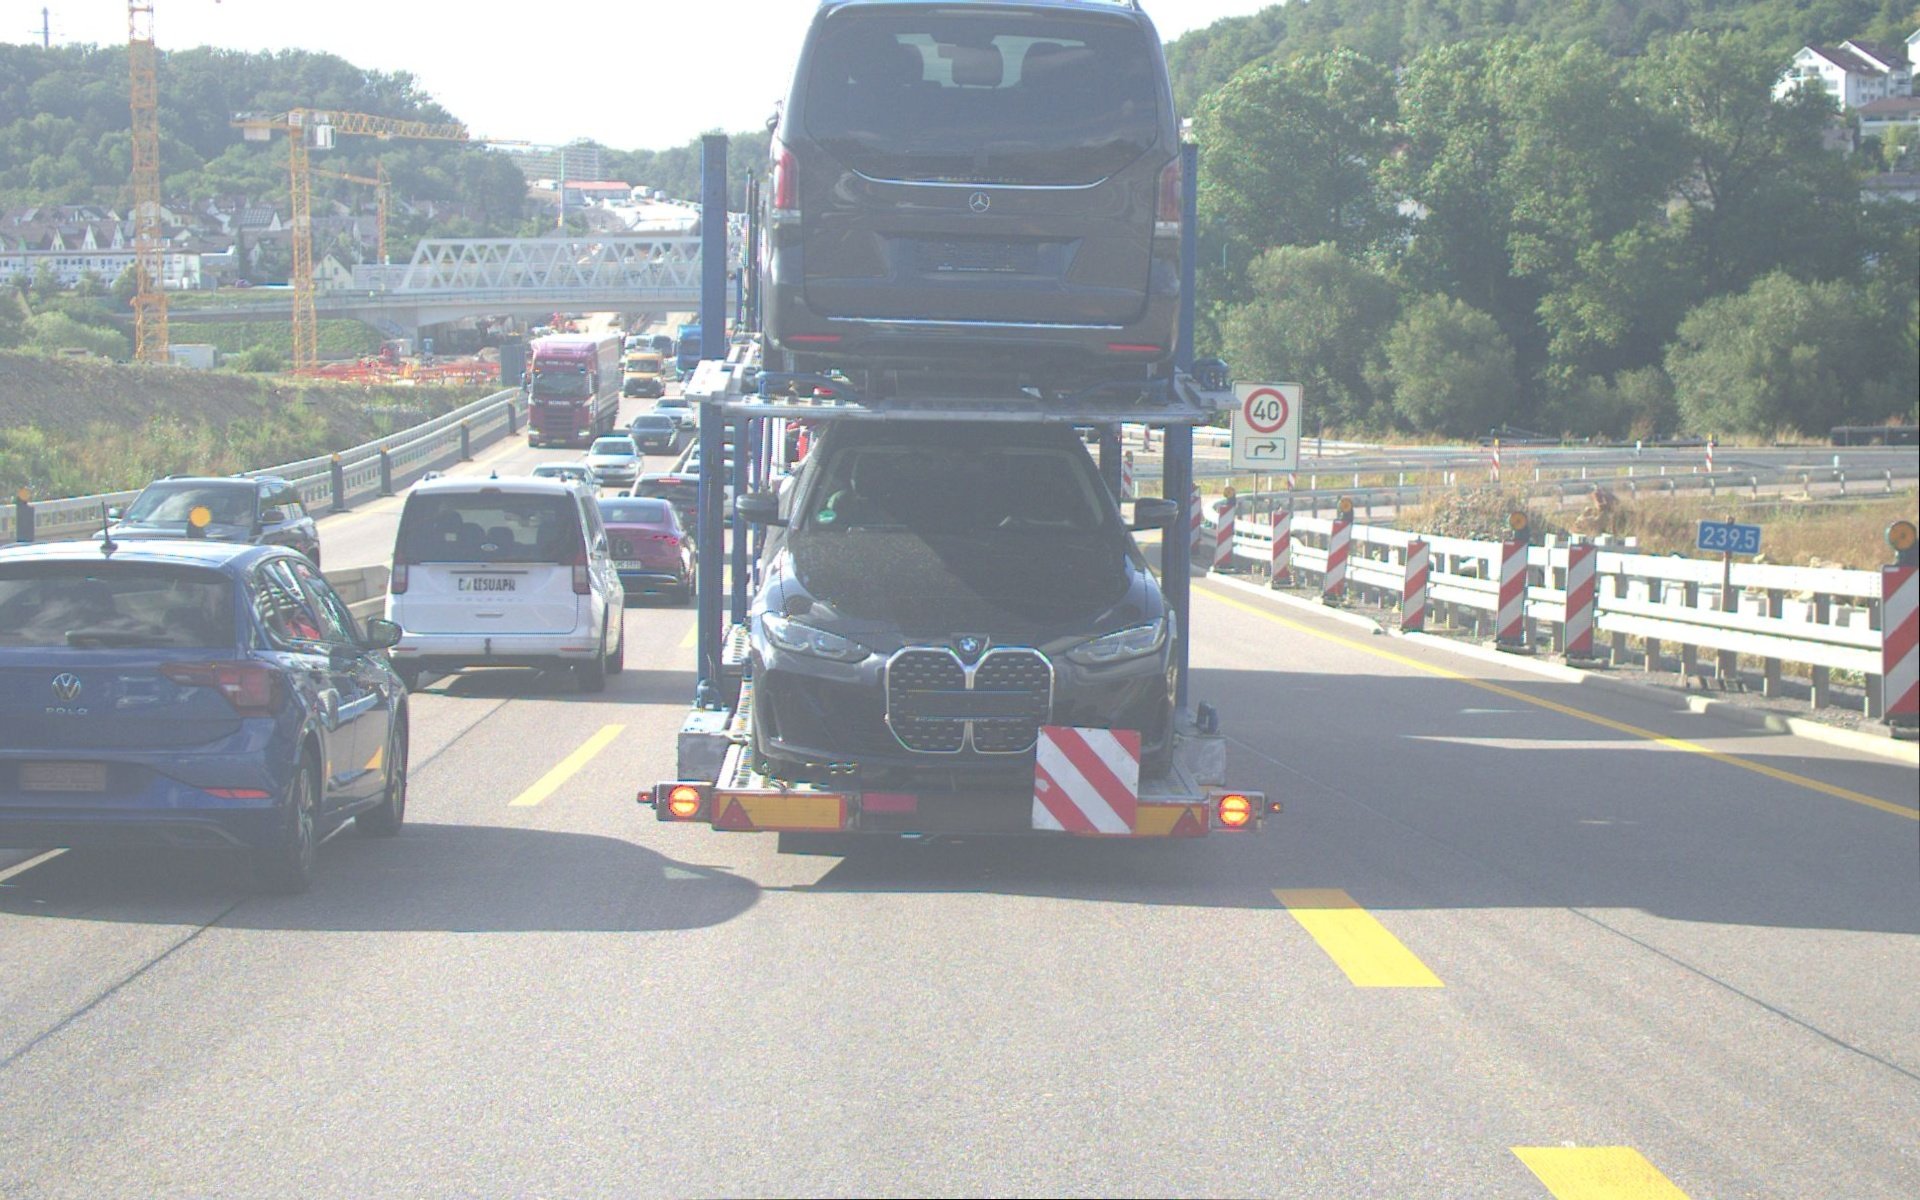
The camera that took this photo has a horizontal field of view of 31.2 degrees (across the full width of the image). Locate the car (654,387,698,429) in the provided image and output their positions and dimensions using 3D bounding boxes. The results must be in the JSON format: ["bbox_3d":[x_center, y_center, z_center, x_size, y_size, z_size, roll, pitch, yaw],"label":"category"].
[{"bbox_3d":[-12.256,-8.260,148.327,1.844,1.642,4.506,1,2,-4],"label":"car"}]

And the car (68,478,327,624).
[{"bbox_3d":[-9.134,-0.626,41.585,1.853,1.630,4.748,1,2,3],"label":"car"}]

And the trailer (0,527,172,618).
[{"bbox_3d":[-12.117,-0.300,40.048,2.352,0.936,10.327,1,2,7],"label":"trailer"}]

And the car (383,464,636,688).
[{"bbox_3d":[-3.851,-0.210,29.988,1.823,1.786,4.000,1,0,-3],"label":"car"}]

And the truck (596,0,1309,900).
[{"bbox_3d":[-0.416,-1.062,23.300,2.753,3.941,18.893,2,1,-2],"label":"truck"}]

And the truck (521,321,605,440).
[{"bbox_3d":[-15.438,-8.520,134.066,2.914,4.372,6.288,2,2,-5],"label":"truck"}]

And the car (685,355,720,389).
[{"bbox_3d":[-13.640,-12.075,182.159,1.844,1.642,4.237,1,2,-4],"label":"car"}]

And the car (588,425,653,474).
[{"bbox_3d":[-10.466,-4.635,106.193,1.754,1.435,3.805,1,2,-2],"label":"car"}]

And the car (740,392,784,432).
[{"bbox_3d":[-8.747,-8.273,151.763,1.844,1.642,4.506,1,2,-4],"label":"car"}]

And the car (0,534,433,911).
[{"bbox_3d":[-3.470,0.438,15.095,1.722,1.417,4.000,1,1,-1],"label":"car"}]

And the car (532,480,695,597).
[{"bbox_3d":[-4.833,-0.844,48.494,1.993,1.551,4.401,1,0,-2],"label":"car"}]

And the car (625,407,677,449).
[{"bbox_3d":[-11.573,-6.431,129.004,1.821,1.435,4.615,1,2,-4],"label":"car"}]

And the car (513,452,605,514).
[{"bbox_3d":[-9.656,-2.814,83.028,1.852,1.435,4.559,1,2,-2],"label":"car"}]

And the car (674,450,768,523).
[{"bbox_3d":[-5.705,-2.732,82.452,1.993,1.660,4.001,1,2,-1],"label":"car"}]

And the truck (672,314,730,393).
[{"bbox_3d":[-18.438,-17.543,245.482,2.822,4.772,13.054,1,0,1],"label":"truck"}]

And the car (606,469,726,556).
[{"bbox_3d":[-5.510,-1.627,64.867,1.993,1.547,4.000,1,0,-1],"label":"car"}]
